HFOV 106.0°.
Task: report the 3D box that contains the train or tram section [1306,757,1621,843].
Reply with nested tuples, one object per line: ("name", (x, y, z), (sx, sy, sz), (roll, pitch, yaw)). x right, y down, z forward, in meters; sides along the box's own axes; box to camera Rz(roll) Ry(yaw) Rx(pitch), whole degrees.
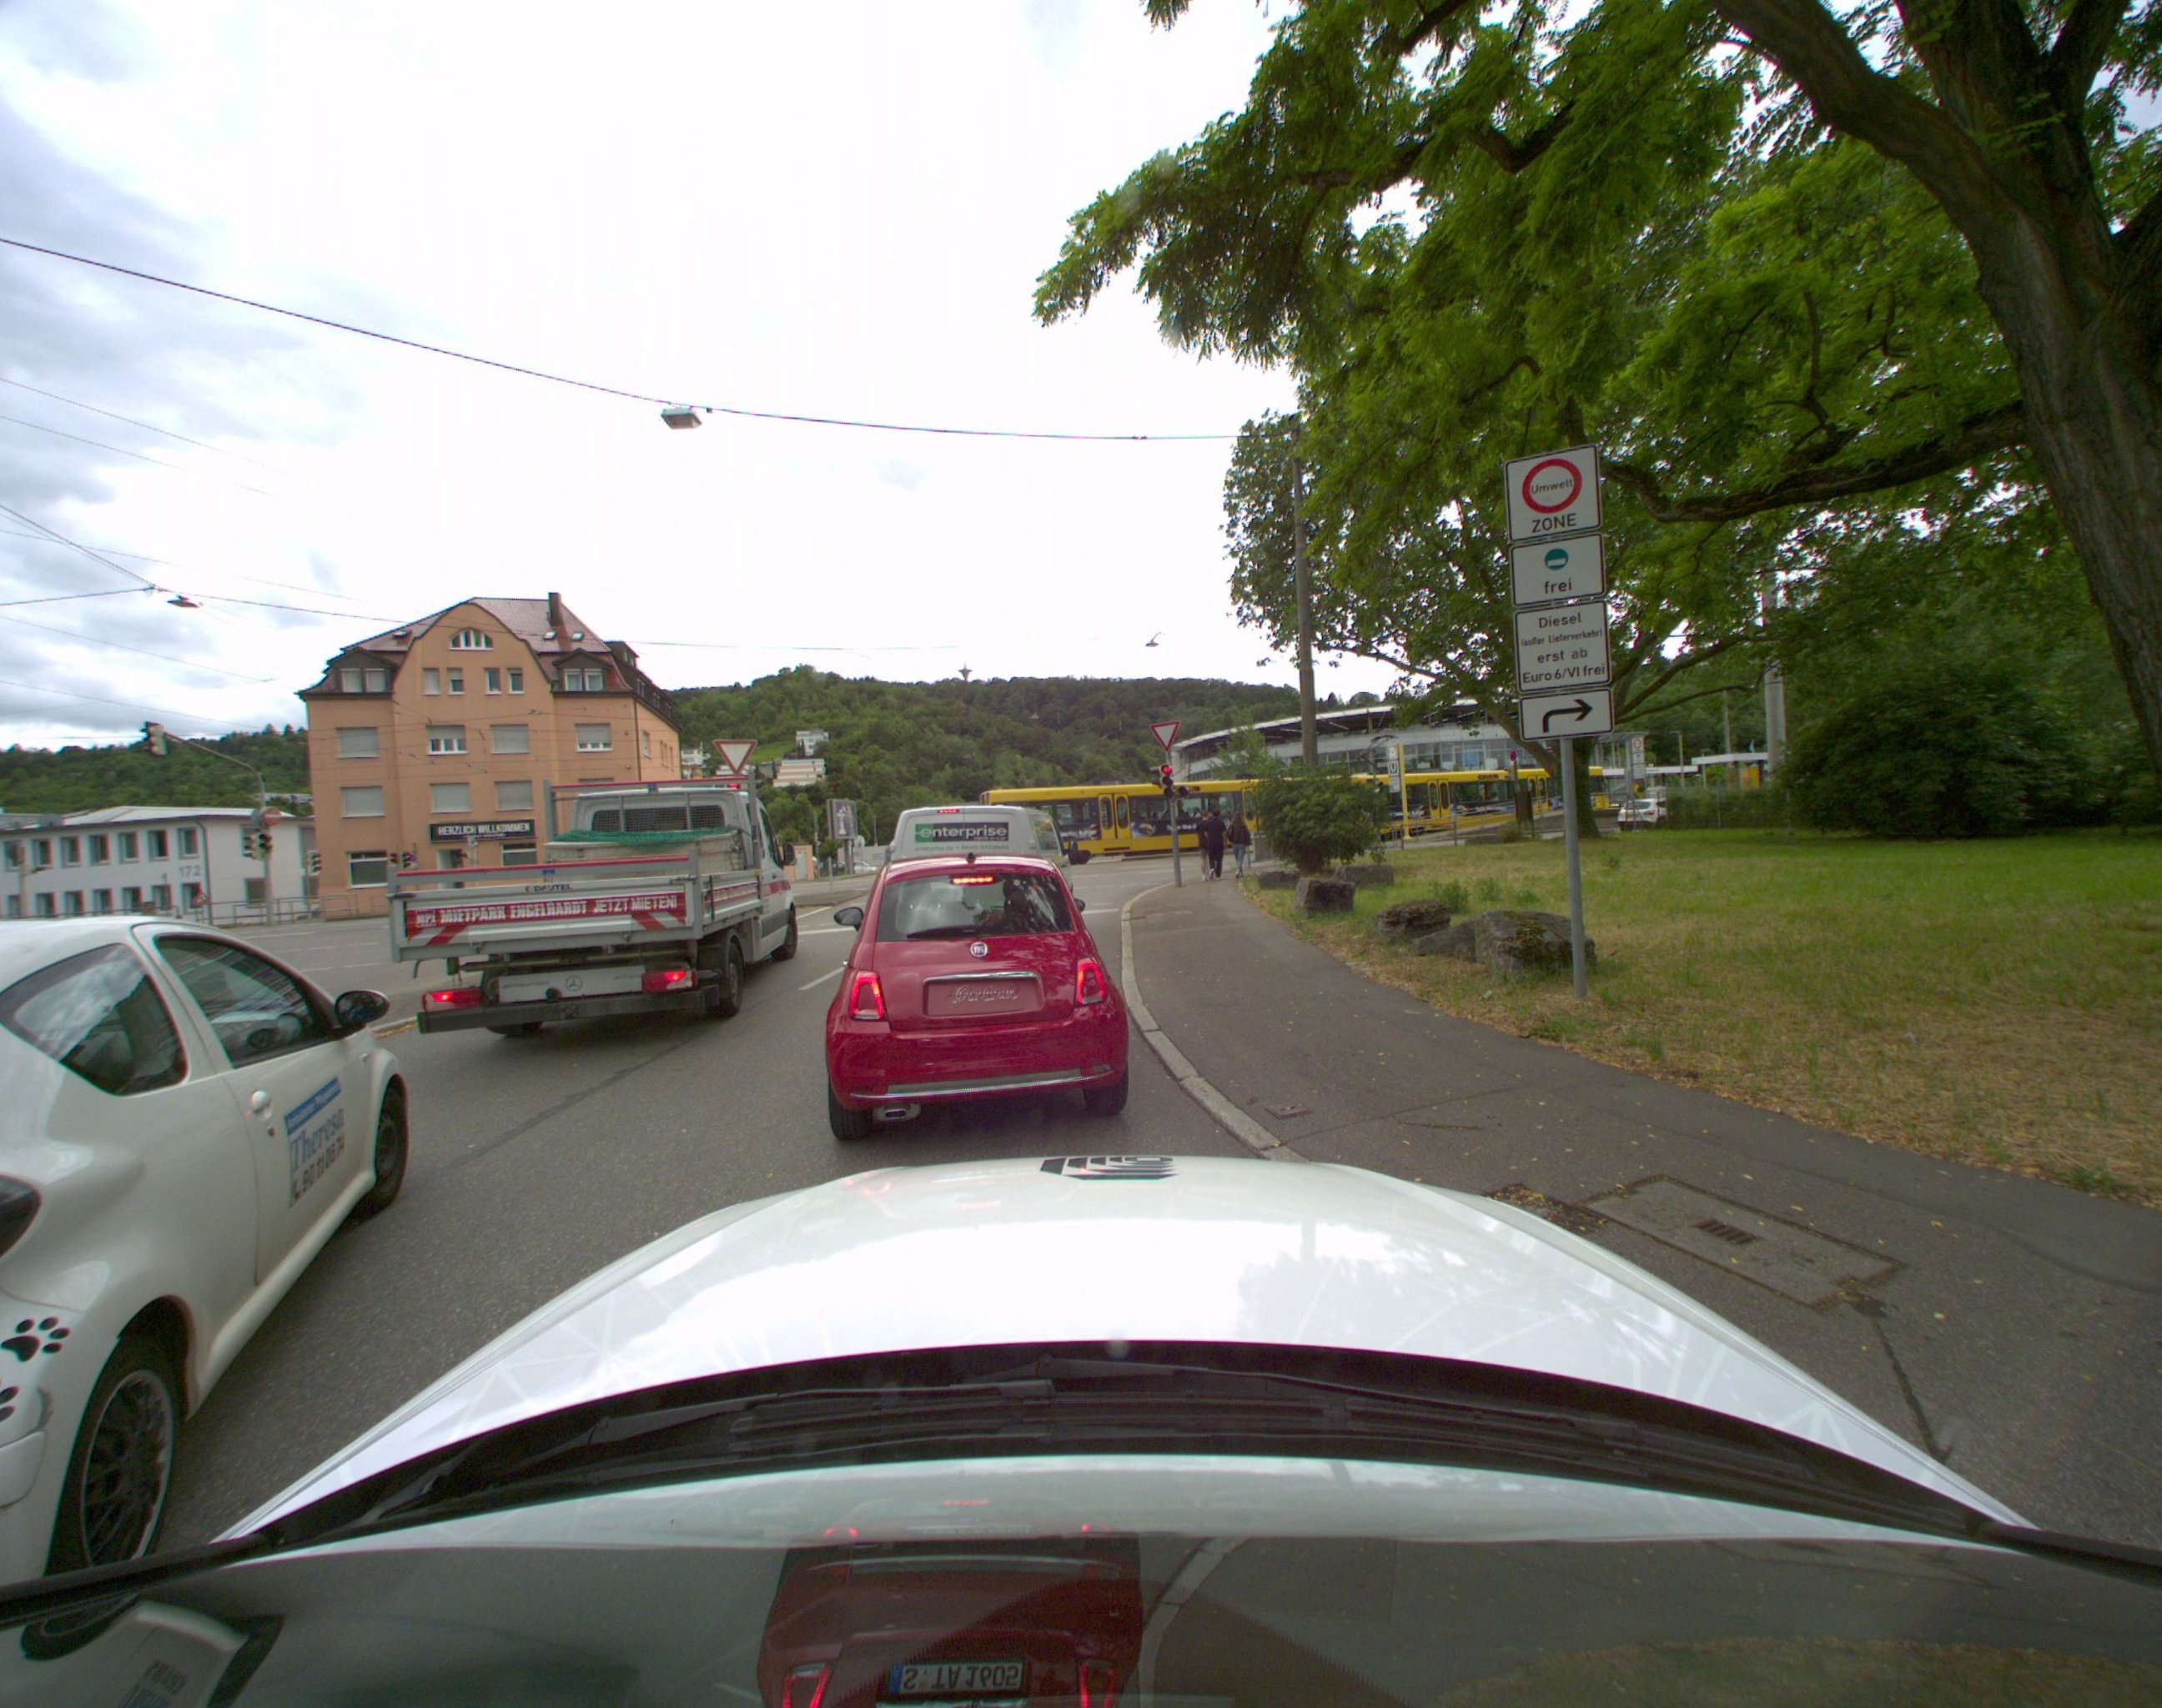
("train or tram section", (21.520, -3.073, 45.027), (19.184, 3.665, 3.255), (-4, 1, -21))

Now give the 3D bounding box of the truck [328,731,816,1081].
("truck", (-4.669, 0.326, 9.012), (2.423, 2.397, 6.006), (-4, 1, -11))

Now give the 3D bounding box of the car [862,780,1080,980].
("car", (-1.236, 0.248, 11.512), (1.981, 2.106, 4.767), (-4, 1, 4))

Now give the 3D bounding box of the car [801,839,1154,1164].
("car", (-0.737, 0.683, 5.675), (1.638, 1.456, 3.420), (-3, 1, -9))

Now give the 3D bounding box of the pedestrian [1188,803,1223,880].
("pedestrian", (3.165, -0.322, 20.664), (0.688, 1.857, 0.791), (-4, 1, 13))

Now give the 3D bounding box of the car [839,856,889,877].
("car", (-19.583, 1.122, 73.631), (4.209, 1.533, 1.767), (-4, 1, -14))

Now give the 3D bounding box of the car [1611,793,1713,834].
("car", (26.619, -1.847, 37.311), (4.128, 1.584, 1.790), (-4, 1, -21))

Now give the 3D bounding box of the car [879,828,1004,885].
("car", (-4.655, 0.054, 27.179), (3.880, 1.584, 1.795), (-4, 1, -13))

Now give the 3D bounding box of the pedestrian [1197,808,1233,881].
("pedestrian", (3.298, -0.234, 19.973), (0.688, 1.714, 0.791), (-4, 1, 14))

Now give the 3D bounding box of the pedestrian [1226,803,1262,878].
("pedestrian", (3.957, -0.327, 19.751), (0.688, 1.739, 0.792), (-4, 1, 15))

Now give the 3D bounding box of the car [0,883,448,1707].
("car", (-3.320, 0.894, 2.456), (1.649, 1.432, 3.398), (-5, 1, -30))

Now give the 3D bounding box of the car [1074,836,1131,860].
("car", (1.600, -0.446, 61.302), (3.837, 1.500, 1.784), (-3, 1, 18))

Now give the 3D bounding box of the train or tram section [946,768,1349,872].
("train or tram section", (3.527, -1.727, 38.478), (19.171, 3.665, 3.257), (-4, 1, -19))

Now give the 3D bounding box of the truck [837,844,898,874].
("truck", (-20.122, 0.435, 76.778), (5.211, 2.393, 1.983), (-4, 1, -26))
